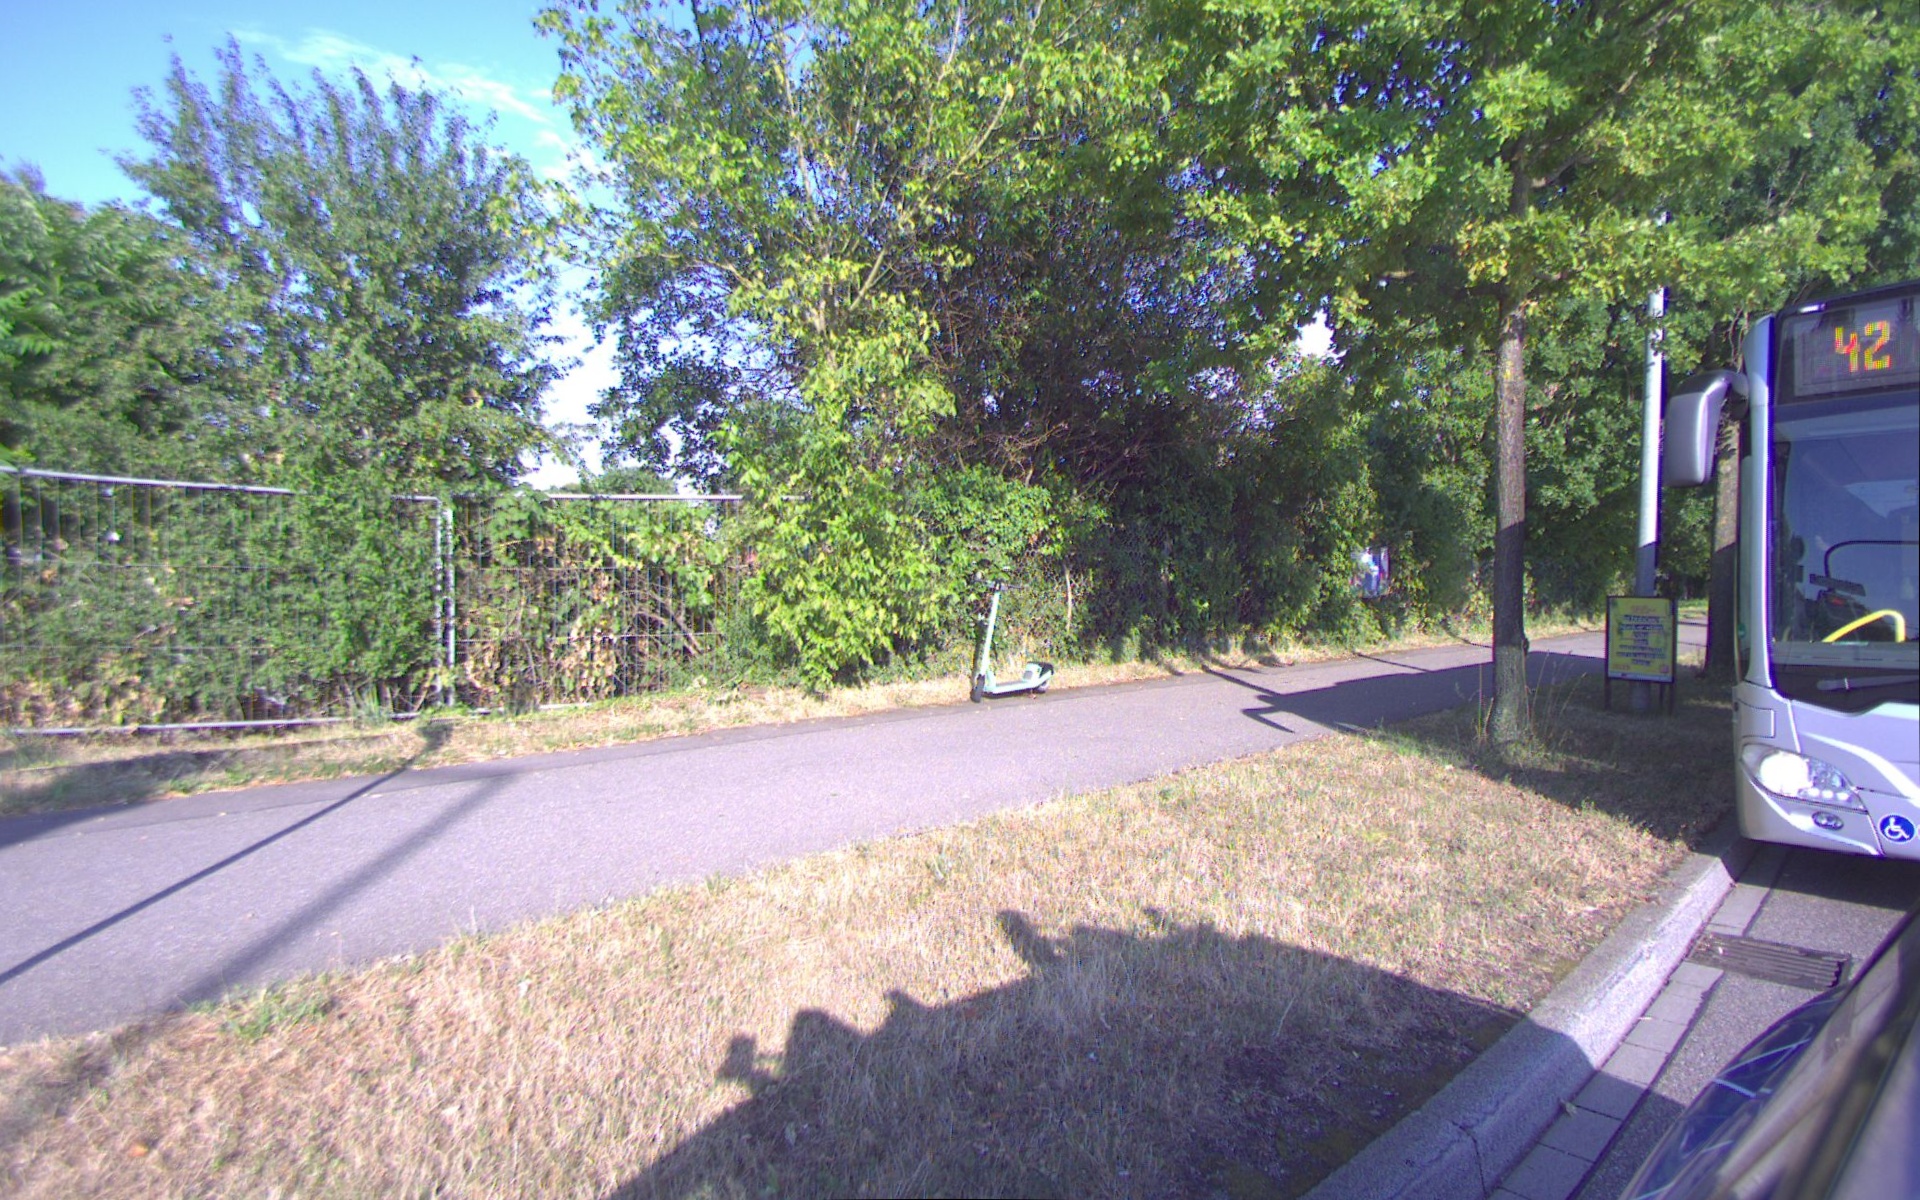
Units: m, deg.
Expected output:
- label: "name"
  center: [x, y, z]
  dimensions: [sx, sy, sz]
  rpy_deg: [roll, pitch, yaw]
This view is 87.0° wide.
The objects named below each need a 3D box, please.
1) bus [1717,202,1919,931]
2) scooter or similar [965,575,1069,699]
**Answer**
- label: "bus"
  center: [8.456, -0.167, 8.038]
  dimensions: [2.588, 3.081, 11.535]
  rpy_deg: [1, 1, 43]
- label: "scooter or similar"
  center: [0.562, 0.340, 9.810]
  dimensions: [1.076, 1.139, 0.249]
  rpy_deg: [0, 4, -41]
